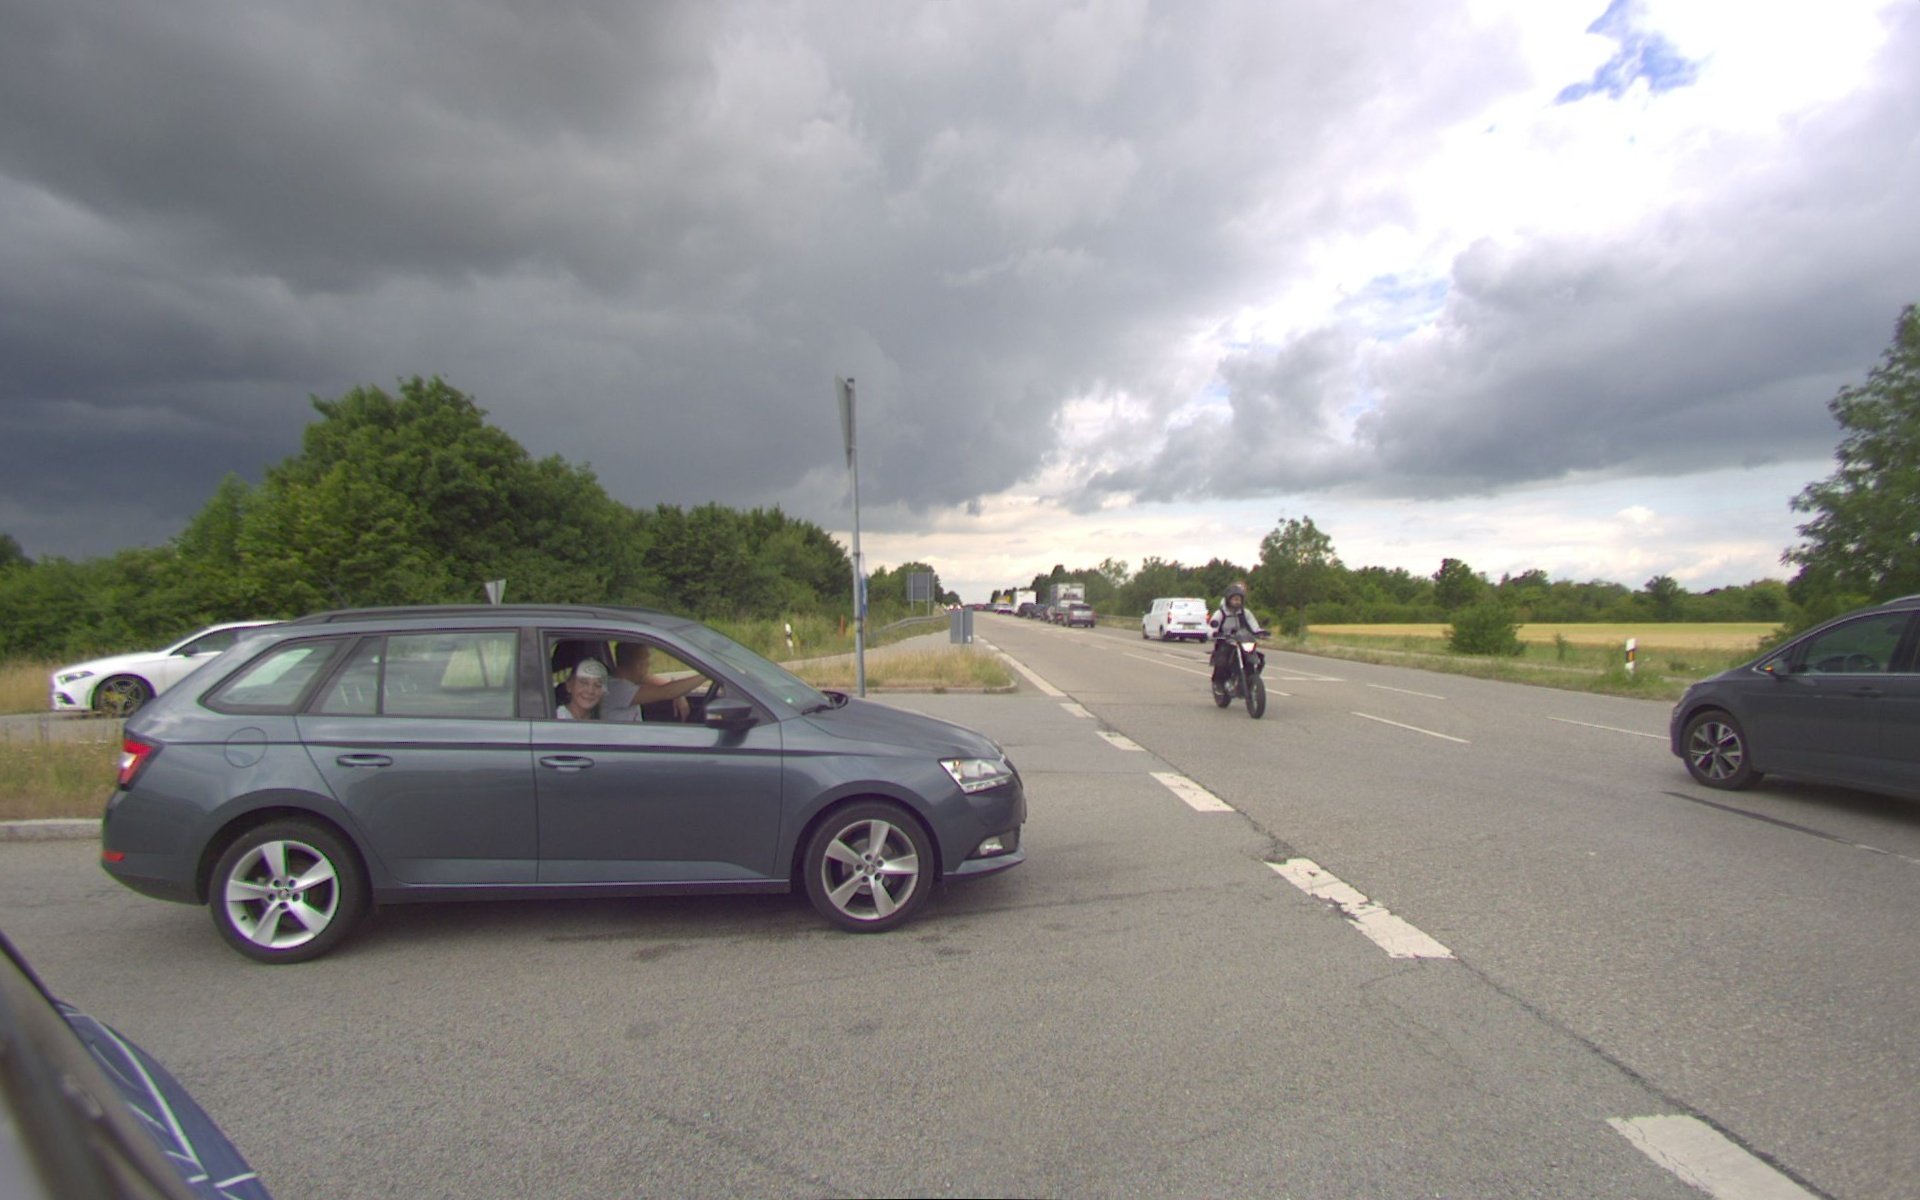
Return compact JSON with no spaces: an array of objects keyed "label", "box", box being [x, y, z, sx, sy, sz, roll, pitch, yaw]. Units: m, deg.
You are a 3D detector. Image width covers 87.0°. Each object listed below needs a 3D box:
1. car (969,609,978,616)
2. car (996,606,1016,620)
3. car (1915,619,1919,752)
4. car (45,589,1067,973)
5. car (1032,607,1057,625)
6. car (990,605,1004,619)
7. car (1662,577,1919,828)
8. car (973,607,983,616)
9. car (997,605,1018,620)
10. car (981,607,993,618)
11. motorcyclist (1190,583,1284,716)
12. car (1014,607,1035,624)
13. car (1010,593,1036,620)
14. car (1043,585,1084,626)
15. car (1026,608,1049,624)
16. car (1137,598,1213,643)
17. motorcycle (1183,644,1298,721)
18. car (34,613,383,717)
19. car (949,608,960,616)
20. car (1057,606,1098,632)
[{"label":"car","box":[3.033,2.730,226.375,1.771,1.564,4.002,-1,-1,-2]},{"label":"car","box":[6.253,1.795,139.536,2.307,1.936,4.877,-1,-1,-2]},{"label":"car","box":[11.099,0.885,8.793,1.654,1.412,4.090,1,-1,-1]},{"label":"car","box":[-1.665,0.698,5.055,4.052,1.458,1.722,-1,0,-8]},{"label":"car","box":[7.630,1.471,91.860,1.822,1.537,4.001,-1,-1,-1]},{"label":"car","box":[5.515,1.819,151.259,1.771,2.029,4.002,-1,-1,-3]},{"label":"car","box":[7.252,0.696,6.959,1.728,1.671,4.292,1,-1,-2]},{"label":"car","box":[3.530,2.365,203.846,1.831,1.763,4.001,0,-1,-1]},{"label":"car","box":[6.217,1.664,132.412,2.307,1.936,4.877,-1,-1,-2]},{"label":"car","box":[4.610,2.145,171.961,1.831,1.763,4.001,0,-1,-1]},{"label":"motorcyclist","box":[3.832,0.665,14.122,0.930,1.763,1.201,0,-1,-2]},{"label":"car","box":[6.977,1.673,109.407,1.831,1.763,4.002,0,-1,-2]},{"label":"car","box":[7.419,0.769,120.061,2.307,3.052,6.561,-1,-1,-2]},{"label":"car","box":[8.103,0.457,80.137,2.307,3.052,6.560,2,-1,-2]},{"label":"car","box":[7.715,1.616,100.563,1.822,1.537,4.001,-1,-1,-2]},{"label":"car","box":[9.608,0.908,45.644,2.082,1.900,5.393,0,-1,-2]},{"label":"motorcycle","box":[3.836,1.107,14.056,0.930,0.896,2.146,0,0,-2]},{"label":"car","box":[-11.916,0.959,16.360,4.321,1.462,1.776,0,-1,-37]},{"label":"car","box":[-0.994,2.251,189.182,1.971,1.493,4.001,0,0,-2]},{"label":"car","box":[8.001,1.317,69.238,1.970,1.636,4.264,2,-1,-3]}]
